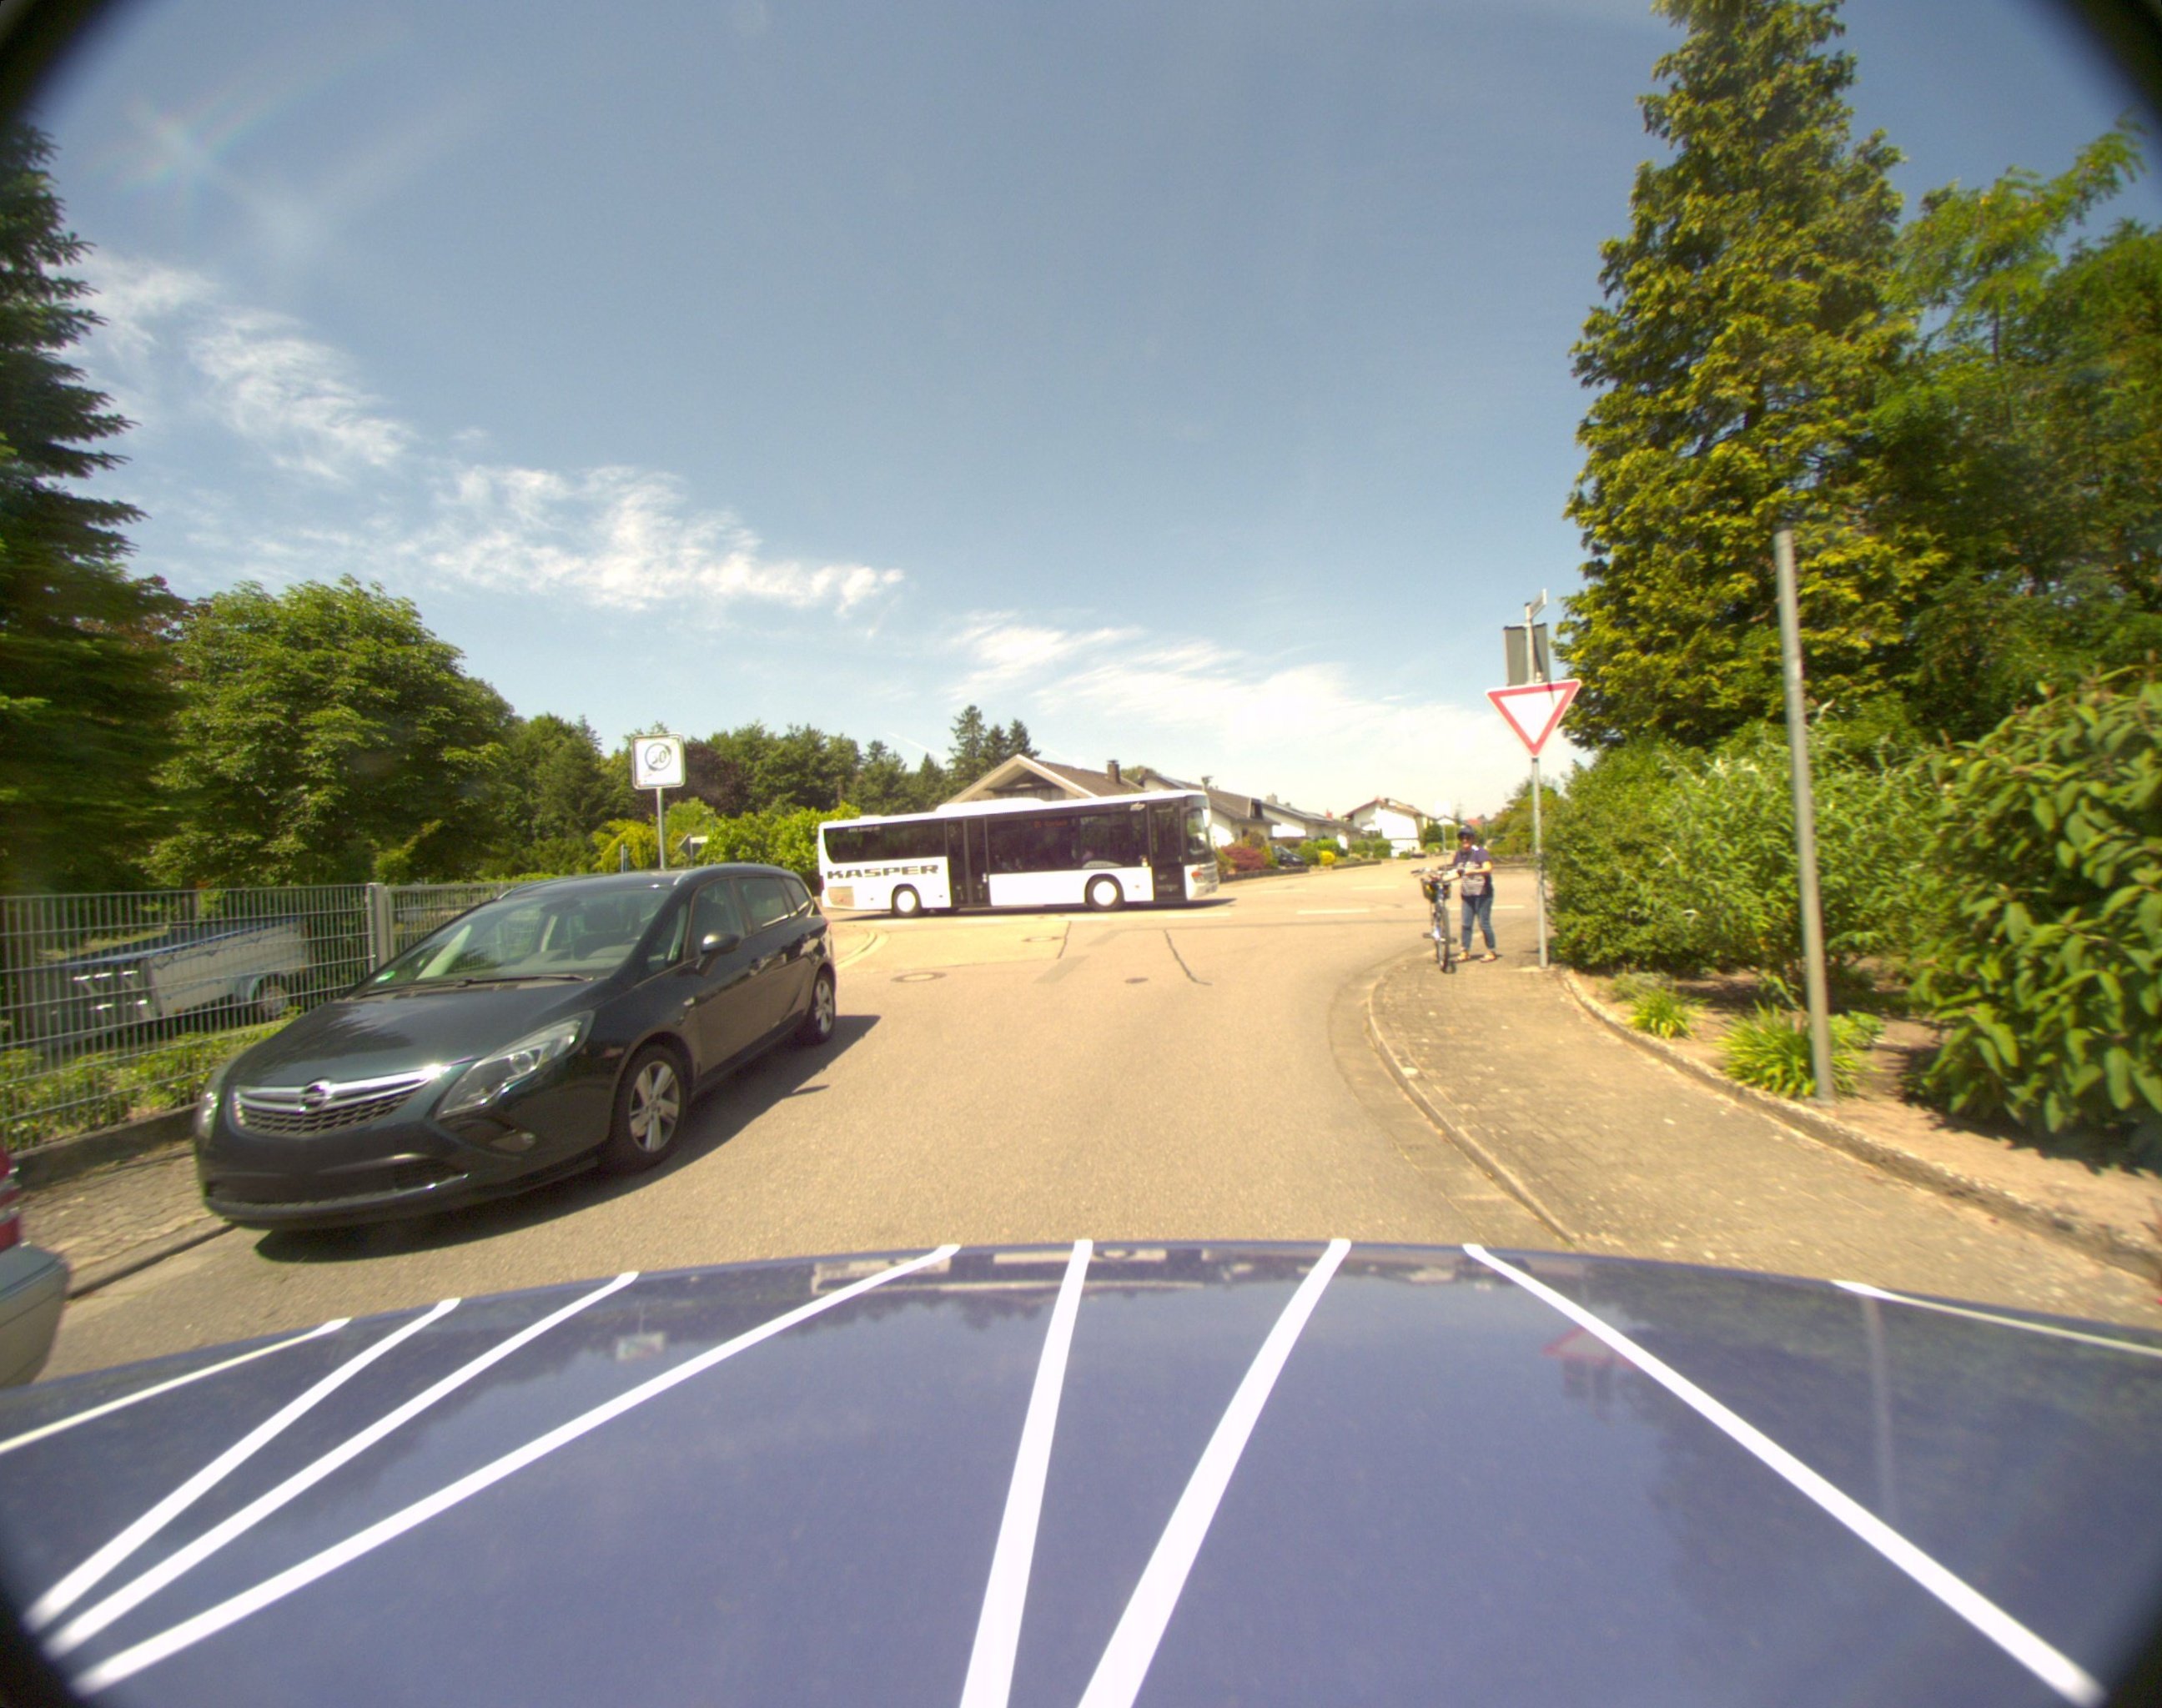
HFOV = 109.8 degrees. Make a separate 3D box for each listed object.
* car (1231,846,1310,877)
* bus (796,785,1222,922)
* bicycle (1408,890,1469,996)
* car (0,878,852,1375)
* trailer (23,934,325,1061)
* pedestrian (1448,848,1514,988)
[{"bbox_3d":[13.207,0.500,52.969,4.954,1.904,1.932,-3,0,26],"label":"car"},{"bbox_3d":[-2.492,0.193,22.847,12.682,3.225,3.197,-3,0,25],"label":"bus"},{"bbox_3d":[3.985,0.941,8.553,0.442,0.958,1.851,-3,0,21],"label":"bicycle"},{"bbox_3d":[-3.303,1.086,5.142,1.968,1.652,4.683,-3,0,1],"label":"car"},{"bbox_3d":[-10.745,1.633,9.194,1.106,1.077,2.221,-3,0,-8],"label":"trailer"},{"bbox_3d":[4.422,0.688,8.430,0.503,1.492,0.613,-3,0,20],"label":"pedestrian"}]
